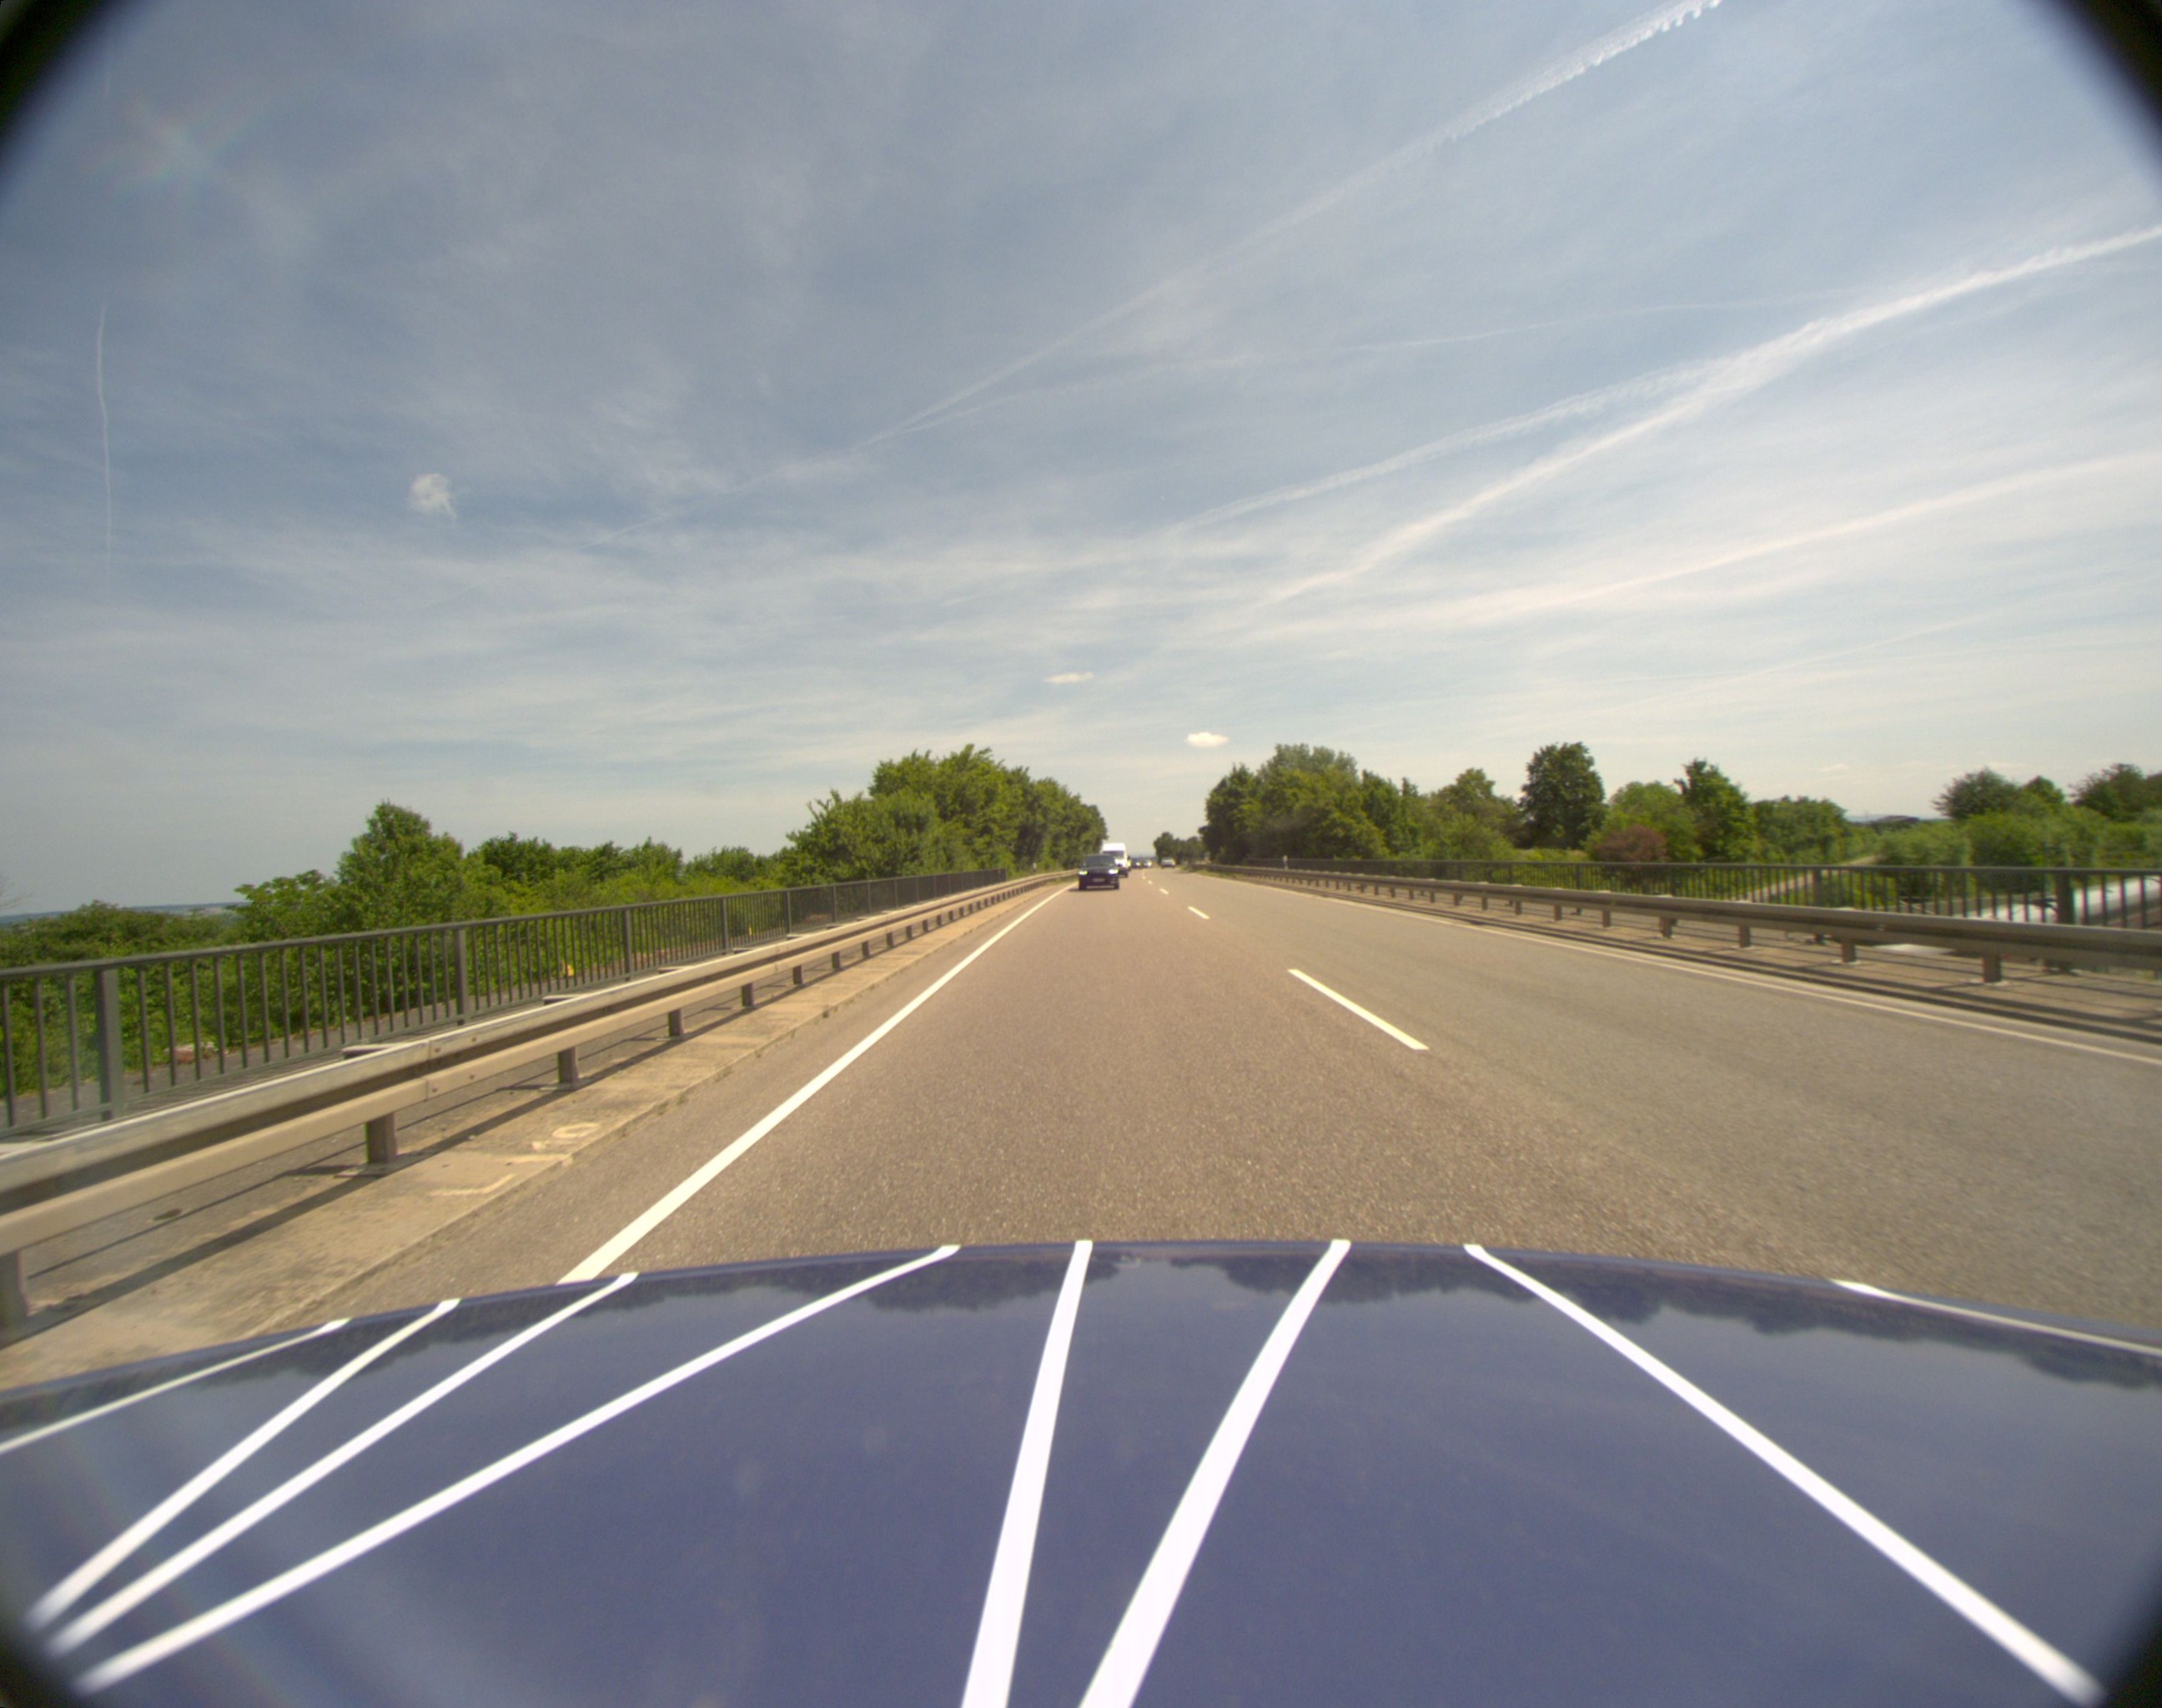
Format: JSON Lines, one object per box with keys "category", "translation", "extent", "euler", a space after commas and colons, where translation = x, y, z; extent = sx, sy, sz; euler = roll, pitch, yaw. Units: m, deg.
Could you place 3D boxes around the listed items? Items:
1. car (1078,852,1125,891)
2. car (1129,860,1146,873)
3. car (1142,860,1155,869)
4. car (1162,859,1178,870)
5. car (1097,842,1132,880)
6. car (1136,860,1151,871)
{"category": "car", "translation": [1.056, 0.757, 36.344], "extent": [2.038, 1.691, 5.513], "euler": [-1, 1, 3]}
{"category": "car", "translation": [7.902, 1.754, 105.711], "extent": [2.038, 1.641, 4.747], "euler": [-1, 0, 8]}
{"category": "car", "translation": [12.853, 1.912, 143.736], "extent": [2.037, 1.641, 4.748], "euler": [-1, 0, 9]}
{"category": "car", "translation": [12.353, 1.415, 105.200], "extent": [1.883, 1.502, 4.547], "euler": [-1, 0, 9]}
{"category": "car", "translation": [2.649, 0.473, 58.157], "extent": [2.225, 2.617, 5.754], "euler": [-2, 2, 6]}
{"category": "car", "translation": [10.070, 1.864, 122.676], "extent": [2.037, 1.641, 4.748], "euler": [-1, 0, 9]}
